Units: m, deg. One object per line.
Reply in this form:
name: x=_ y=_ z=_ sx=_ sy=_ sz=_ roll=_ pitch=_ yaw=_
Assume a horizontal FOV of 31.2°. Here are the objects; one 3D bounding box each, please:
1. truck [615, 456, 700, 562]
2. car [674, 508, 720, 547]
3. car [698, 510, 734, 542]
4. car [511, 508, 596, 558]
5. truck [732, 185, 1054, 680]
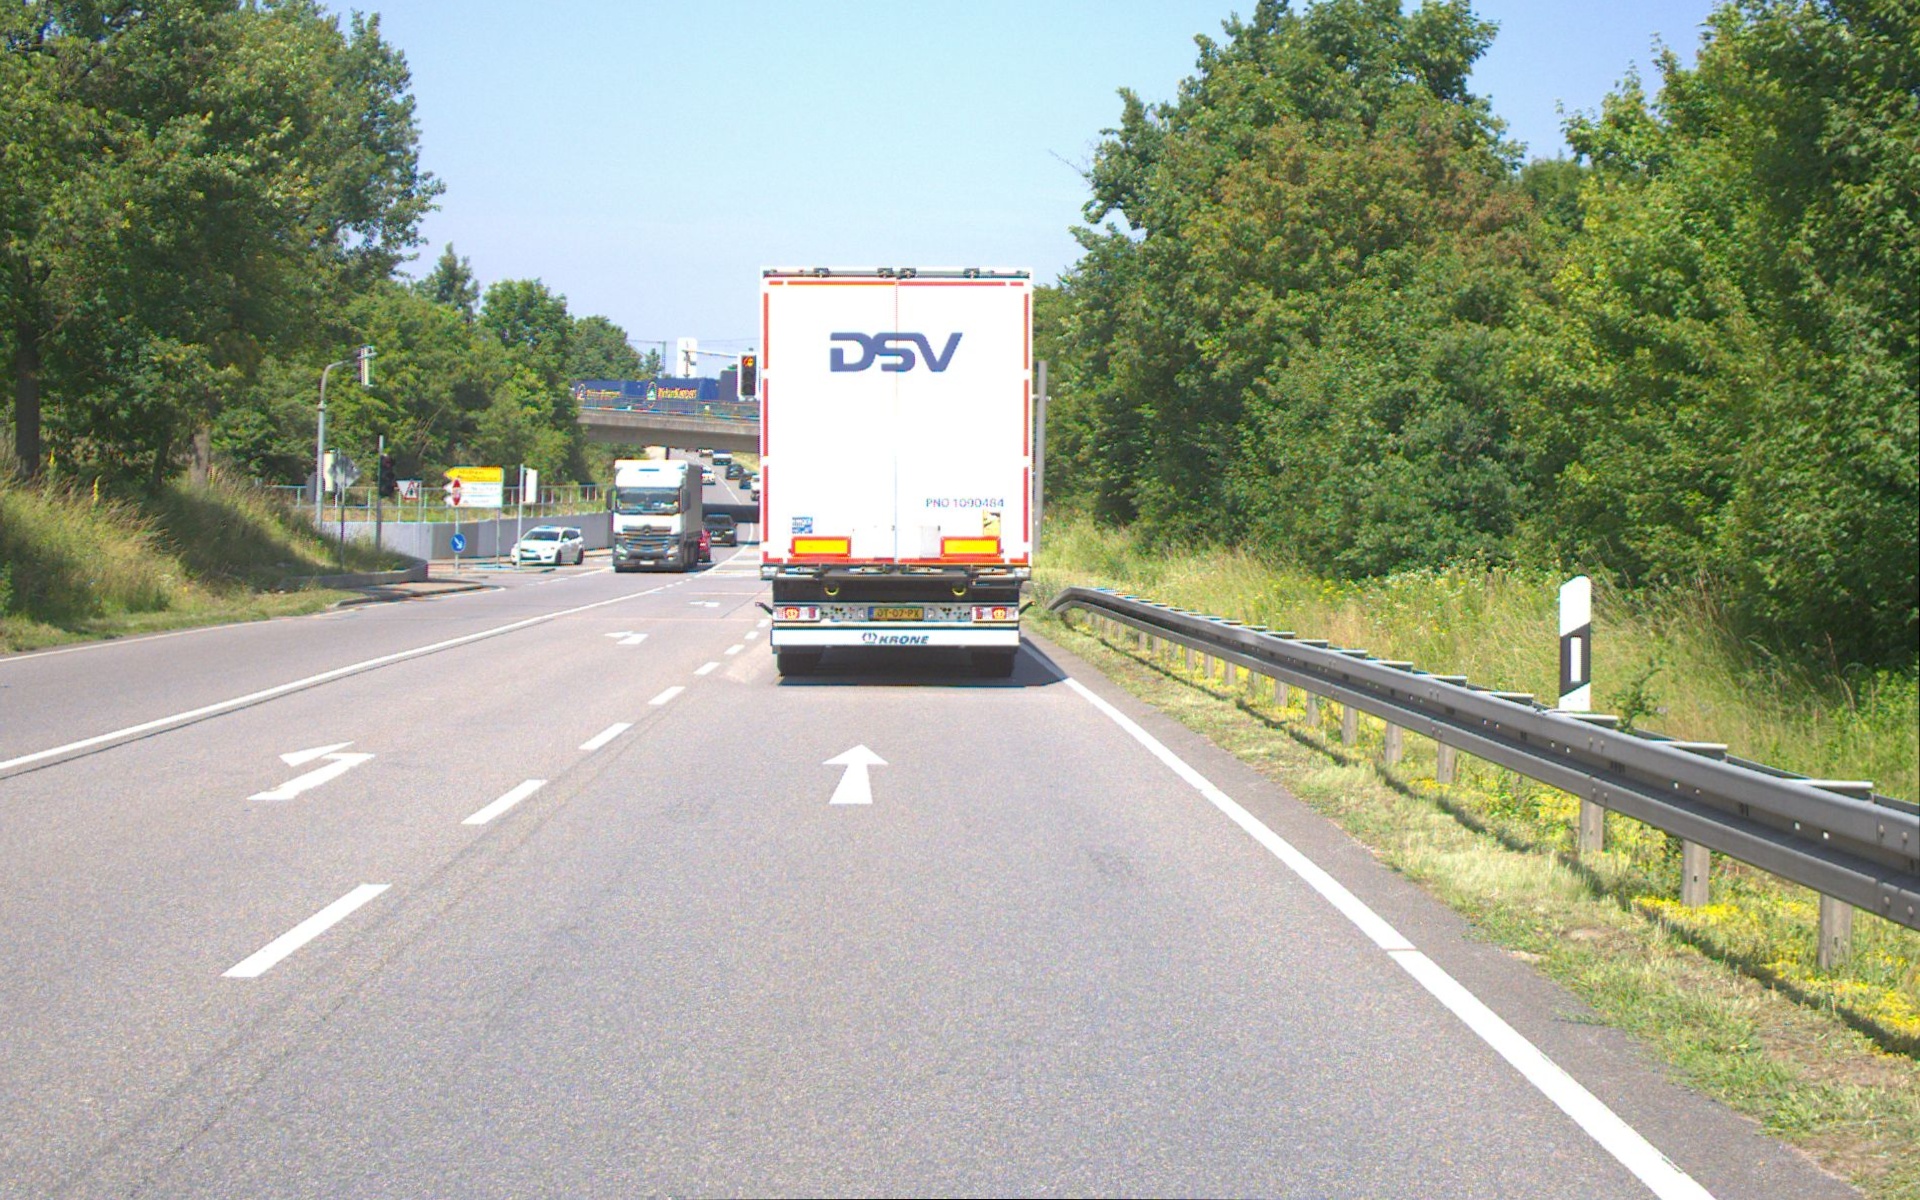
truck: x=-11.135 y=-3.399 z=127.404 sx=2.353 sy=3.737 sz=12.627 roll=0 pitch=2 yaw=-2
car: x=-11.089 y=-3.079 z=145.105 sx=1.747 sy=1.620 sz=3.704 roll=0 pitch=2 yaw=-2
car: x=-12.843 y=-3.917 z=181.430 sx=1.747 sy=1.620 sz=3.704 roll=0 pitch=2 yaw=-2
car: x=-15.877 y=-2.638 z=134.441 sx=1.803 sy=1.865 sz=4.417 roll=1 pitch=2 yaw=15
truck: x=-0.644 y=-1.649 z=36.747 sx=2.950 sy=4.553 sz=9.863 roll=0 pitch=1 yaw=0
